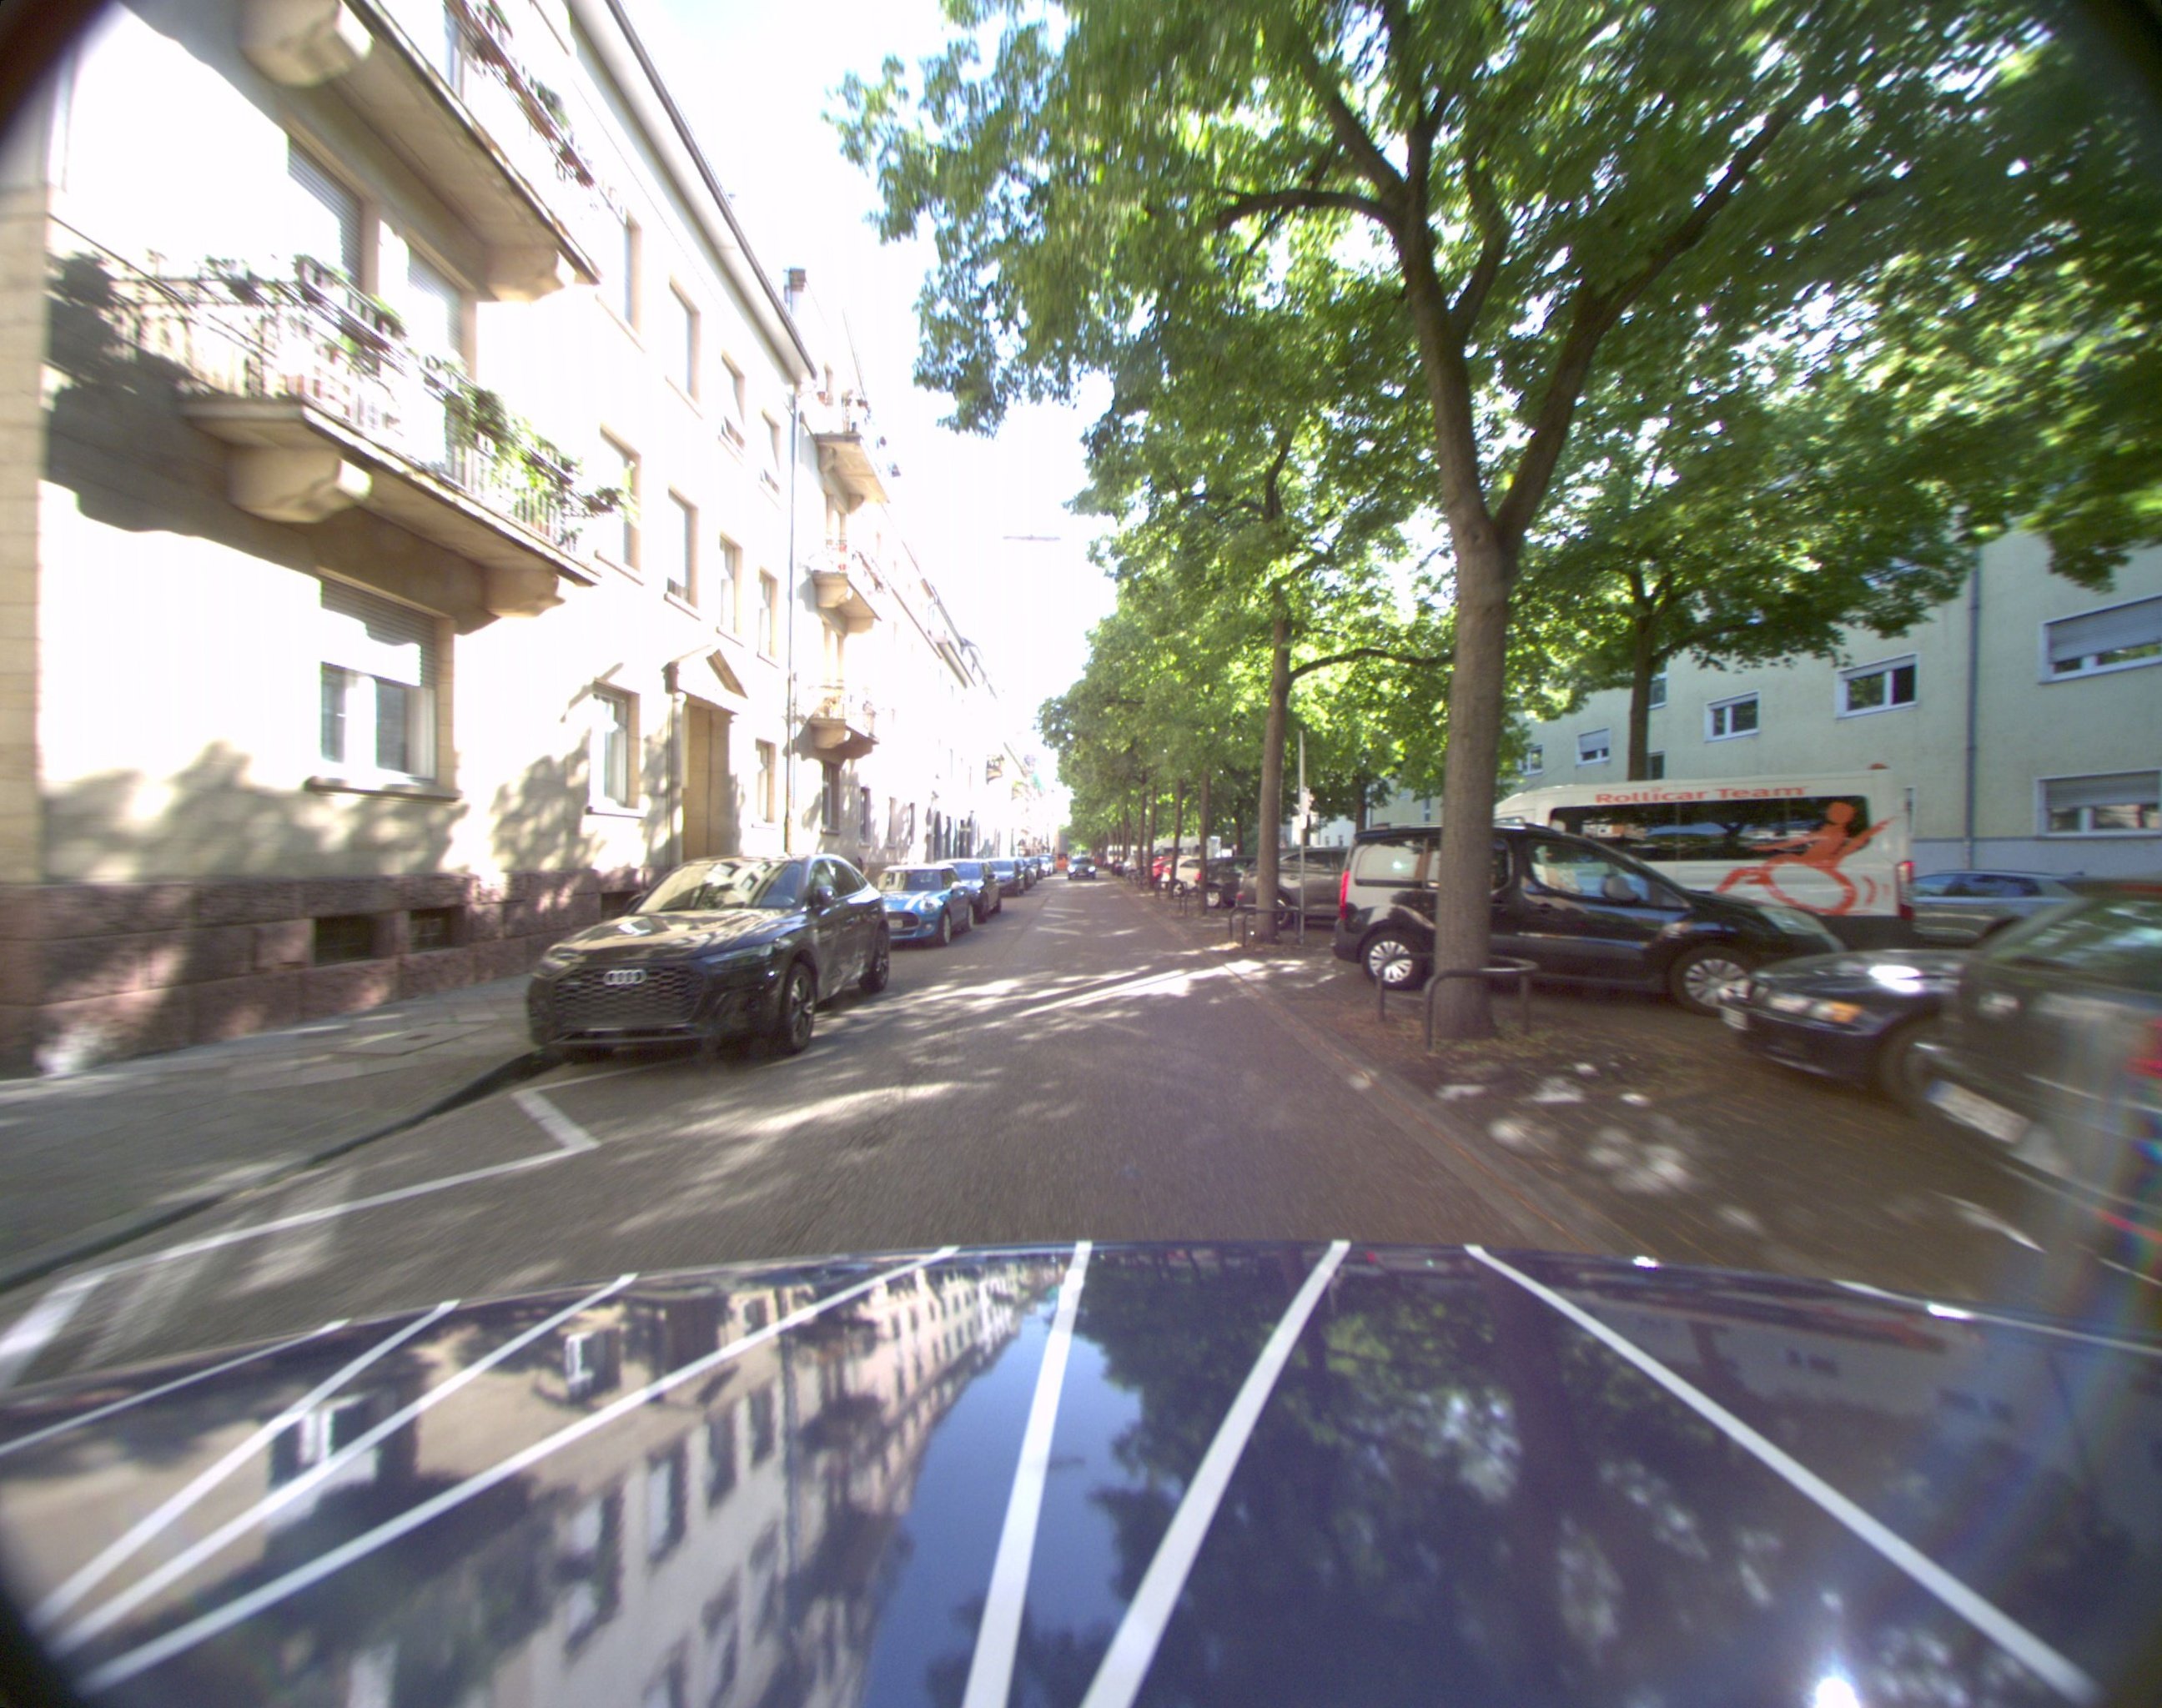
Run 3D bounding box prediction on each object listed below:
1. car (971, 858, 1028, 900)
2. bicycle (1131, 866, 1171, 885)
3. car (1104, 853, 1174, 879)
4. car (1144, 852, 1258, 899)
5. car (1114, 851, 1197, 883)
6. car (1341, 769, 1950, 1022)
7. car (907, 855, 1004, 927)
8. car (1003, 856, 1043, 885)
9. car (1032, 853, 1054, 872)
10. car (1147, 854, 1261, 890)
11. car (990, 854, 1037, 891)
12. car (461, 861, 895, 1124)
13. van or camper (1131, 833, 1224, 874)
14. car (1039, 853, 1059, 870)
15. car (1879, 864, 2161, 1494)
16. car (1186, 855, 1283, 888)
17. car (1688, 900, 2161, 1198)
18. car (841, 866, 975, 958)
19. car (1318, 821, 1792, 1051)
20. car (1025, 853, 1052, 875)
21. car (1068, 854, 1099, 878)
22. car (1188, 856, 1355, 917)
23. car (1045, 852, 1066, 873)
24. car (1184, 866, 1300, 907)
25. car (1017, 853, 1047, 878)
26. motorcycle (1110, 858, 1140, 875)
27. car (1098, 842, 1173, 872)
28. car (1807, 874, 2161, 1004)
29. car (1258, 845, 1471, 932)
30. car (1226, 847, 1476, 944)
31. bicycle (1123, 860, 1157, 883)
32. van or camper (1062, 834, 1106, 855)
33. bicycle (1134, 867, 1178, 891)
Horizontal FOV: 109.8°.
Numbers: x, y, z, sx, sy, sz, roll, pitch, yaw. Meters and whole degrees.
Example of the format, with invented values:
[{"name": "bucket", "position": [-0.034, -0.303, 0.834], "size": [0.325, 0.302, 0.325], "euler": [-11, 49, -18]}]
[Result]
[{"name": "car", "position": [-3.073, 0.921, 29.339], "size": [1.696, 1.459, 4.004], "euler": [-1, 0, 0]}, {"name": "bicycle", "position": [3.437, 1.039, 37.180], "size": [1.900, 0.913, 0.379], "euler": [-1, 1, 20]}, {"name": "car", "position": [3.563, 0.726, 47.202], "size": [4.008, 1.465, 1.630], "euler": [1, 0, 35]}, {"name": "car", "position": [4.364, 0.767, 27.804], "size": [3.684, 1.587, 1.776], "euler": [-1, 1, 36]}, {"name": "car", "position": [4.088, 0.690, 41.642], "size": [4.078, 1.643, 1.866], "euler": [-1, 0, 27]}, {"name": "car", "position": [7.068, 0.378, 10.537], "size": [6.067, 2.607, 2.460], "euler": [2, 1, 34]}, {"name": "car", "position": [-3.035, 0.835, 19.213], "size": [1.810, 1.554, 4.319], "euler": [1, 0, -1]}, {"name": "car", "position": [-3.039, 0.825, 40.546], "size": [1.774, 1.423, 4.290], "euler": [0, 0, 0]}, {"name": "car", "position": [-3.004, 0.671, 61.076], "size": [1.611, 1.412, 4.567], "euler": [1, 0, -1]}, {"name": "car", "position": [5.360, 0.759, 33.427], "size": [4.616, 1.477, 1.764], "euler": [-1, 0, 34]}, {"name": "car", "position": [-3.042, 0.799, 35.076], "size": [1.772, 1.542, 4.183], "euler": [-1, 0, -1]}, {"name": "car", "position": [-3.194, 0.927, 7.260], "size": [1.869, 1.634, 4.490], "euler": [-1, 0, -2]}, {"name": "van or camper", "position": [7.021, -0.023, 55.420], "size": [6.290, 2.808, 2.412], "euler": [-1, 1, 29]}, {"name": "car", "position": [-3.034, 0.705, 72.220], "size": [1.709, 1.502, 4.283], "euler": [1, 0, 0]}, {"name": "car", "position": [4.744, 0.840, 1.716], "size": [3.727, 1.572, 1.639], "euler": [0, 1, 30]}, {"name": "car", "position": [7.238, 0.772, 35.922], "size": [4.105, 1.464, 1.875], "euler": [0, 0, 29]}, {"name": "car", "position": [5.702, 0.986, 4.098], "size": [3.557, 1.240, 1.661], "euler": [1, 1, 30]}, {"name": "car", "position": [-3.098, 0.981, 14.298], "size": [1.594, 1.407, 3.632], "euler": [-1, 0, 1]}, {"name": "car", "position": [4.727, 0.676, 8.040], "size": [3.840, 1.877, 1.848], "euler": [0, 0, 34]}, {"name": "car", "position": [-3.104, 0.733, 55.957], "size": [1.603, 1.484, 3.966], "euler": [2, 1, 1]}, {"name": "car", "position": [0.211, 0.752, 49.728], "size": [1.792, 1.510, 4.001], "euler": [1, 0, 3]}, {"name": "car", "position": [5.183, 0.815, 20.788], "size": [4.098, 1.473, 1.735], "euler": [0, 1, 31]}, {"name": "car", "position": [-2.200, 0.725, 67.117], "size": [1.776, 1.783, 3.989], "euler": [1, 0, -1]}, {"name": "car", "position": [6.204, 1.209, 29.406], "size": [3.988, 1.427, 1.801], "euler": [0, 1, 34]}, {"name": "car", "position": [-3.189, 0.730, 49.976], "size": [1.584, 1.541, 4.041], "euler": [0, 0, 1]}, {"name": "motorcycle", "position": [3.296, 0.940, 57.226], "size": [2.151, 1.223, 0.882], "euler": [-2, 1, 9]}, {"name": "car", "position": [4.863, 0.229, 68.265], "size": [6.310, 2.544, 2.343], "euler": [0, 1, 32]}, {"name": "car", "position": [15.571, 1.284, 13.035], "size": [1.746, 1.712, 4.557], "euler": [2, 0, -1]}, {"name": "car", "position": [6.519, 0.691, 17.556], "size": [4.382, 1.767, 1.903], "euler": [1, 1, 28]}, {"name": "car", "position": [5.155, 0.727, 14.701], "size": [4.264, 1.632, 1.658], "euler": [-1, 1, 32]}, {"name": "bicycle", "position": [3.047, 0.910, 39.058], "size": [1.687, 1.152, 0.379], "euler": [-1, 1, 20]}, {"name": "van or camper", "position": [0.424, -1.368, 111.392], "size": [6.016, 2.984, 2.404], "euler": [1, 0, 29]}, {"name": "bicycle", "position": [3.184, 1.039, 32.321], "size": [1.813, 0.988, 0.426], "euler": [0, 0, 15]}]
